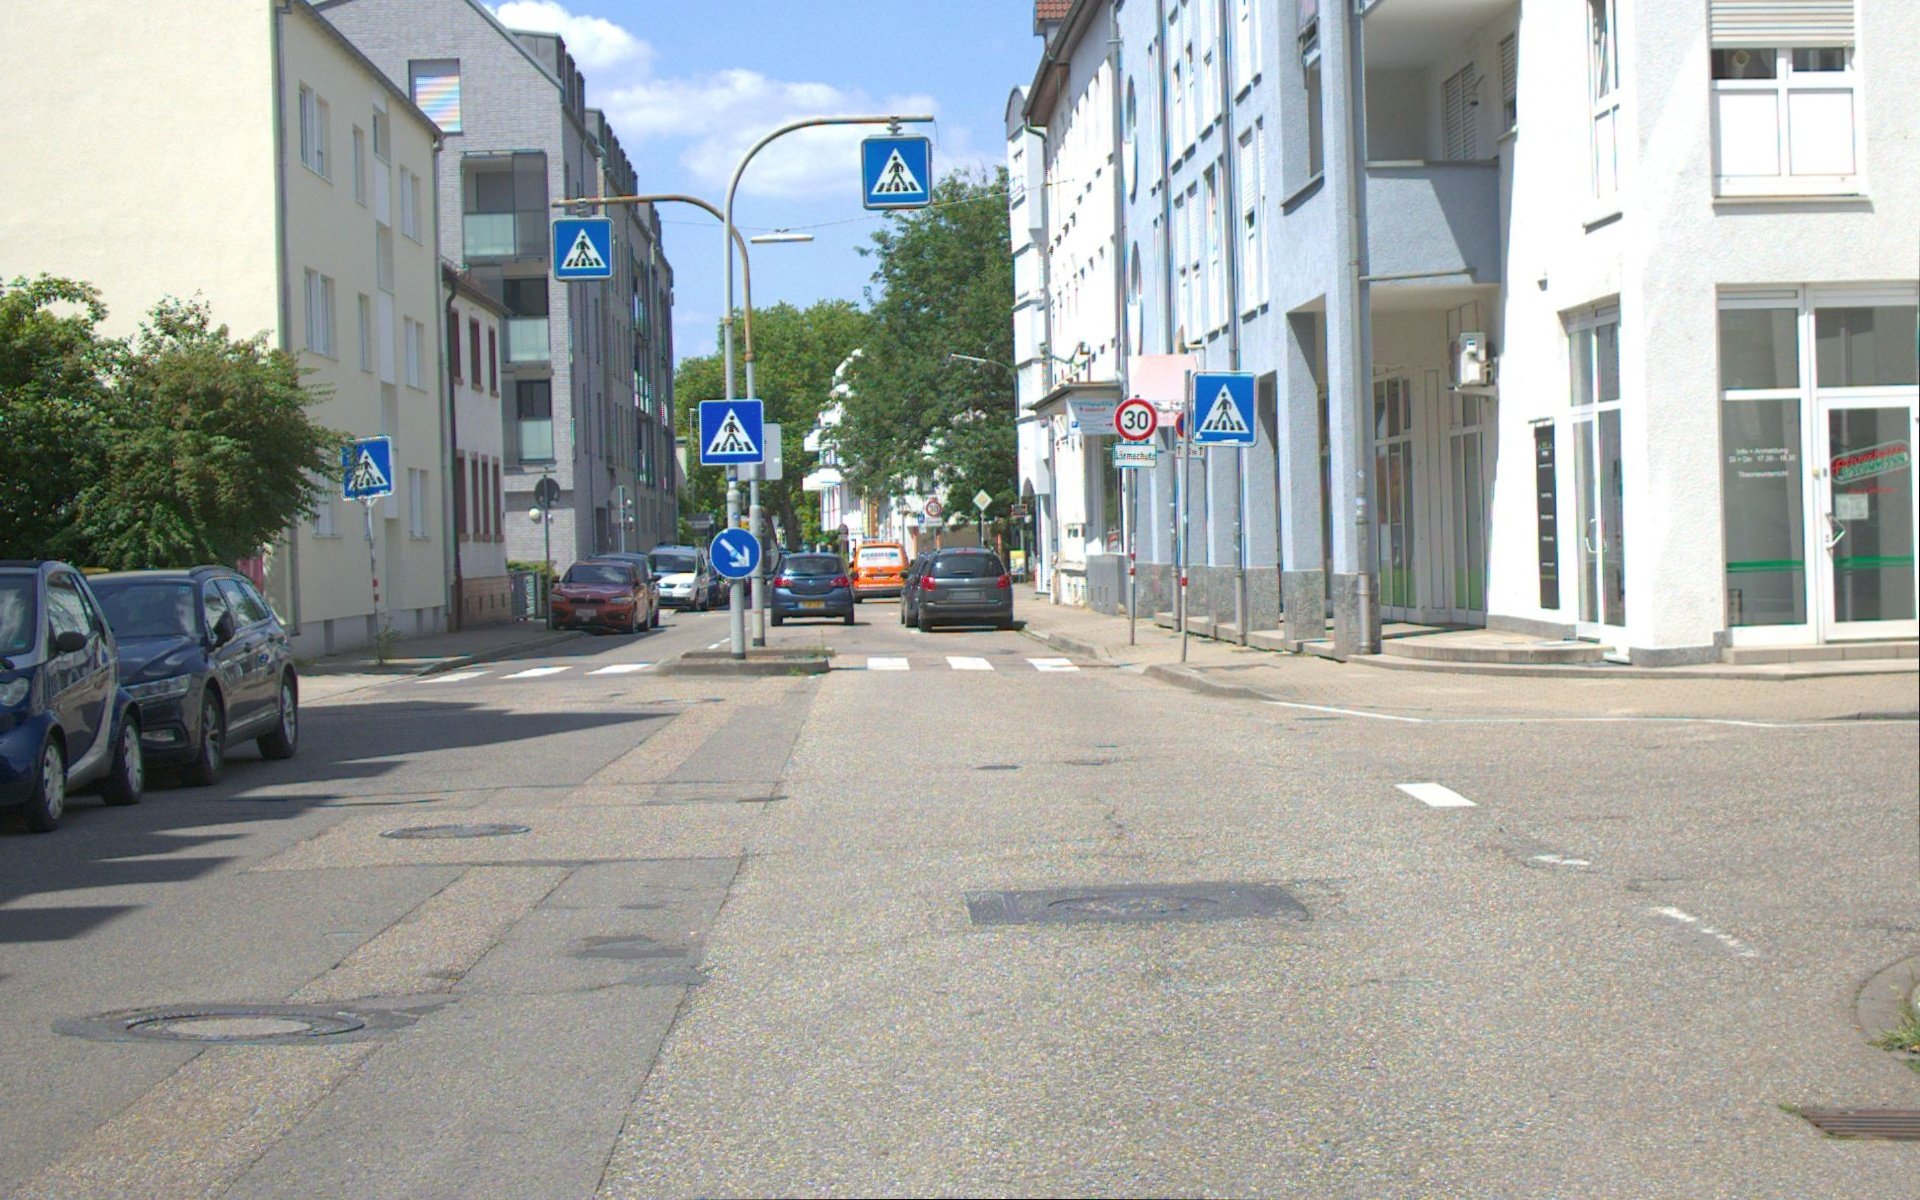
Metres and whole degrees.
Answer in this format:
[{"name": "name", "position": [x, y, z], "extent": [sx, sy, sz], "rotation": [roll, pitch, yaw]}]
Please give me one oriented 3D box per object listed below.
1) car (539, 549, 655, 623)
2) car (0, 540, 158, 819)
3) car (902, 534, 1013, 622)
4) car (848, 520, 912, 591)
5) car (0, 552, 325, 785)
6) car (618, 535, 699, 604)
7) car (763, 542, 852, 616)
[{"name": "car", "position": [-7.345, -0.306, 69.854], "extent": [1.834, 1.412, 4.290], "rotation": [-2, 1, 0]}, {"name": "car", "position": [-5.726, 0.439, 20.139], "extent": [1.436, 1.517, 2.696], "rotation": [-2, 1, -1]}, {"name": "car", "position": [-0.076, -0.419, 62.544], "extent": [1.709, 1.503, 4.001], "rotation": [-2, 1, -4]}, {"name": "car", "position": [-2.396, -1.350, 102.656], "extent": [1.839, 2.007, 4.001], "rotation": [-2, 1, -2]}, {"name": "car", "position": [-5.851, 0.417, 24.408], "extent": [1.783, 1.453, 4.635], "rotation": [-2, 1, 0]}, {"name": "car", "position": [-8.531, -0.894, 97.596], "extent": [1.757, 1.885, 4.336], "rotation": [1, 1, 2]}, {"name": "car", "position": [-3.076, -0.448, 70.035], "extent": [1.715, 1.397, 4.001], "rotation": [-2, 1, -2]}]
